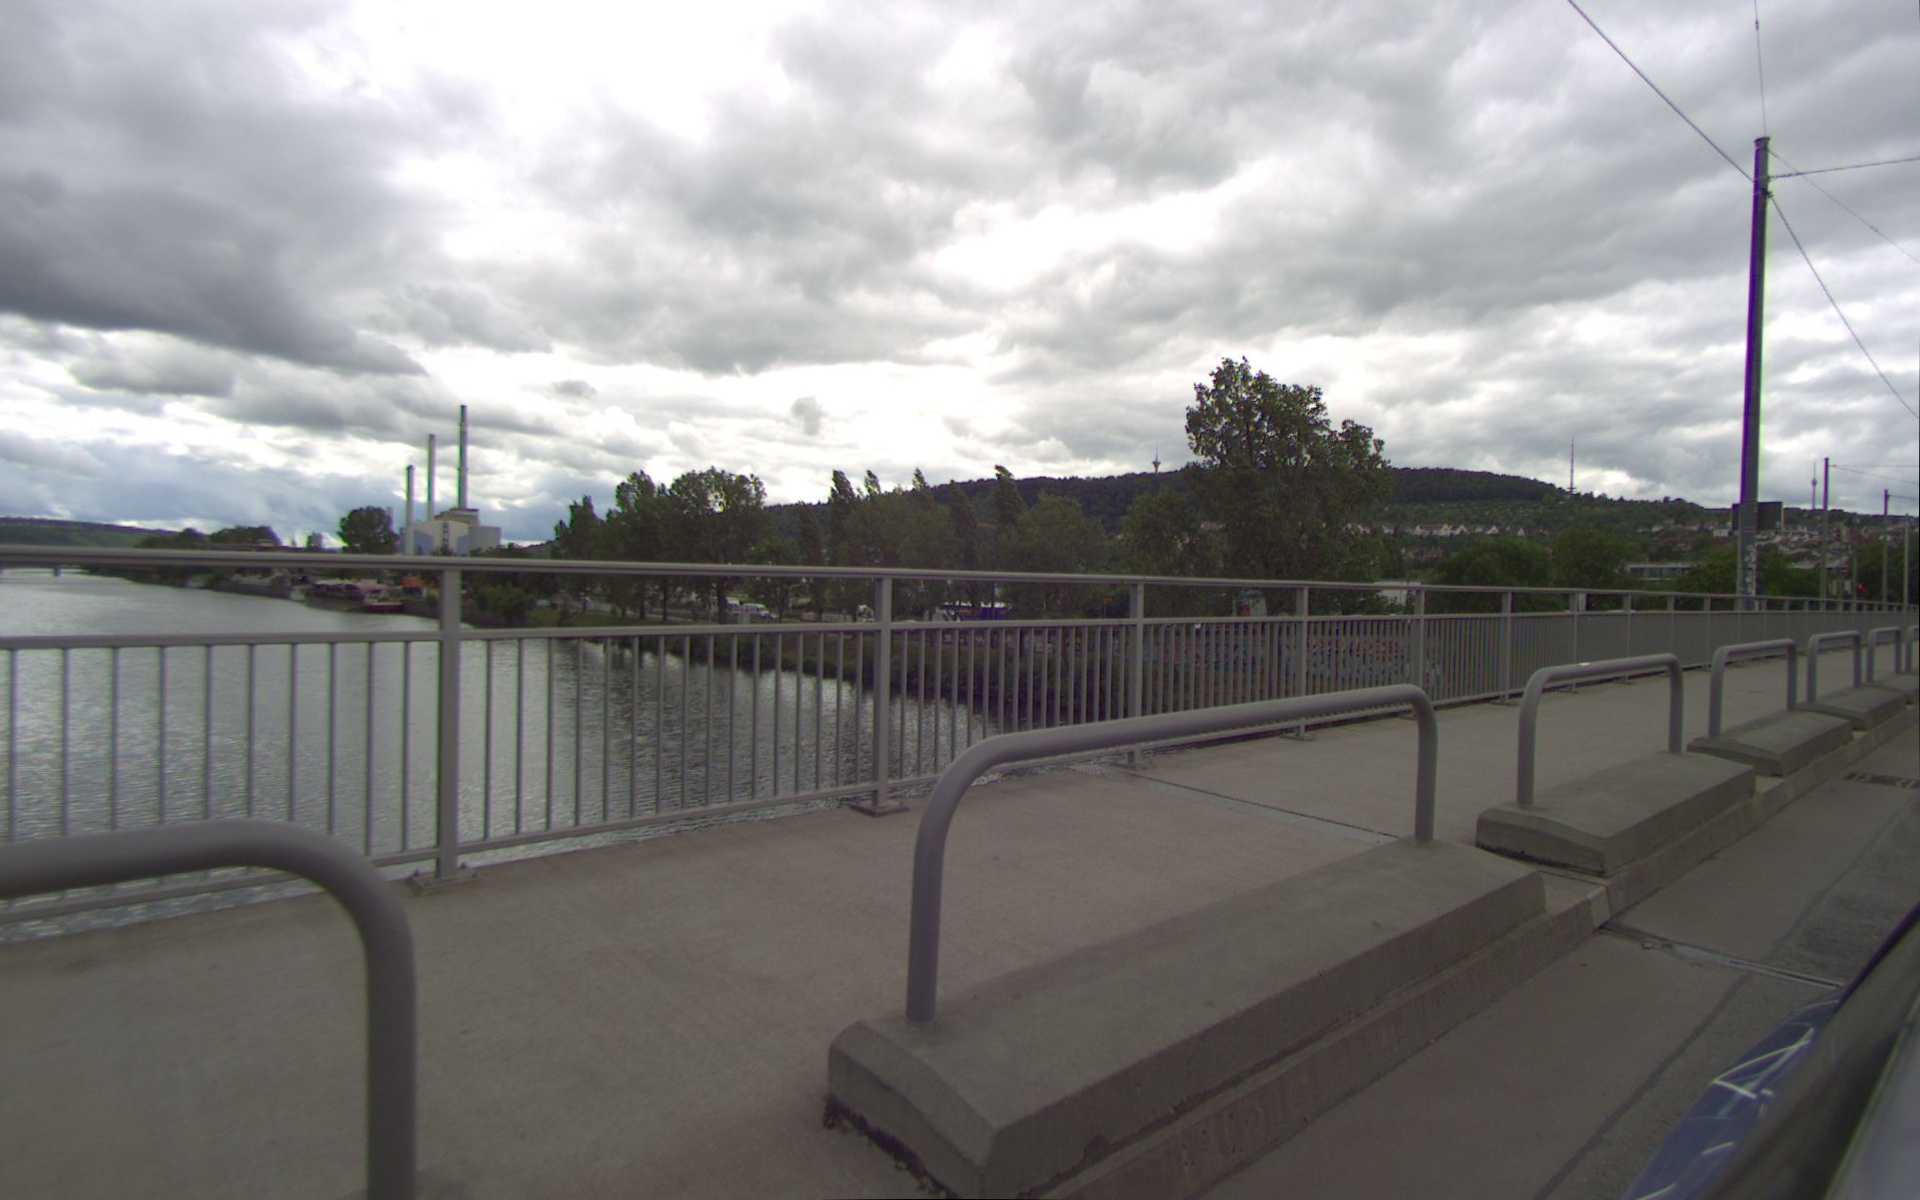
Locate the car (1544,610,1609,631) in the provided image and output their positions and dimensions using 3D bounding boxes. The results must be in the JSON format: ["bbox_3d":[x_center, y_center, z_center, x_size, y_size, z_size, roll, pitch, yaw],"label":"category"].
[{"bbox_3d":[45.588,1.498,74.891,1.667,1.559,3.752,0,-1,-42],"label":"car"}]

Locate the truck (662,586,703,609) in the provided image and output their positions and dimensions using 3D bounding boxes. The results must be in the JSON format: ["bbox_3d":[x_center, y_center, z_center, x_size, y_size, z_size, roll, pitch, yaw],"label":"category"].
[{"bbox_3d":[-64.266,-0.630,234.380,3.526,4.540,13.163,1,3,-42],"label":"truck"}]

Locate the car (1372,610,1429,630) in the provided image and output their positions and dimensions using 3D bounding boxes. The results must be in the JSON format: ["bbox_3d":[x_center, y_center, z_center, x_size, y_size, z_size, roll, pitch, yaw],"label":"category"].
[{"bbox_3d":[36.705,1.651,84.414,1.667,1.559,4.039,0,-1,-42],"label":"car"}]

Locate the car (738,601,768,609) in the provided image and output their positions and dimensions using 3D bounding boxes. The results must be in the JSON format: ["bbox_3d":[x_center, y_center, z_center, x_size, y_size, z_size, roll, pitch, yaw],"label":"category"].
[{"bbox_3d":[-39.112,0.963,190.815,2.658,1.559,5.994,0,0,-45],"label":"car"}]

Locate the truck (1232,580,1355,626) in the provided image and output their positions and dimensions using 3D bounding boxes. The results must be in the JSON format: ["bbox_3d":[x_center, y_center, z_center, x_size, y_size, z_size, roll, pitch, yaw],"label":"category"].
[{"bbox_3d":[30.135,0.235,91.863,3.173,3.928,10.403,1,-1,-43],"label":"truck"}]

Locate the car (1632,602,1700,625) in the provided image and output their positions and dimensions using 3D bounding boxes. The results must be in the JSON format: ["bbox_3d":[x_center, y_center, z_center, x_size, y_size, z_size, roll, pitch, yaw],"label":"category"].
[{"bbox_3d":[49.271,0.903,70.706,1.667,1.559,3.616,0,-1,-42],"label":"car"}]

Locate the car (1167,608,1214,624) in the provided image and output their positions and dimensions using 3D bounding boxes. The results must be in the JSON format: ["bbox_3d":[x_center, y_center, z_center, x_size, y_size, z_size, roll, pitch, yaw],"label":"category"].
[{"bbox_3d":[23.400,1.653,102.920,1.889,1.559,4.383,0,-1,-42],"label":"car"}]

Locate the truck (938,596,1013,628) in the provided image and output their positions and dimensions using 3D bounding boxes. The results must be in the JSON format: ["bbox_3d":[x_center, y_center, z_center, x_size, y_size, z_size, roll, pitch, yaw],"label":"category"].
[{"bbox_3d":[2.296,1.863,164.126,3.322,3.964,14.413,1,3,-41],"label":"truck"}]

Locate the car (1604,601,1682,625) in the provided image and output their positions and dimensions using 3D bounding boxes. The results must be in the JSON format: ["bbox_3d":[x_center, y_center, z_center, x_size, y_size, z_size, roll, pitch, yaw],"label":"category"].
[{"bbox_3d":[50.082,0.956,74.268,1.965,1.640,4.335,-1,0,-41],"label":"car"}]
